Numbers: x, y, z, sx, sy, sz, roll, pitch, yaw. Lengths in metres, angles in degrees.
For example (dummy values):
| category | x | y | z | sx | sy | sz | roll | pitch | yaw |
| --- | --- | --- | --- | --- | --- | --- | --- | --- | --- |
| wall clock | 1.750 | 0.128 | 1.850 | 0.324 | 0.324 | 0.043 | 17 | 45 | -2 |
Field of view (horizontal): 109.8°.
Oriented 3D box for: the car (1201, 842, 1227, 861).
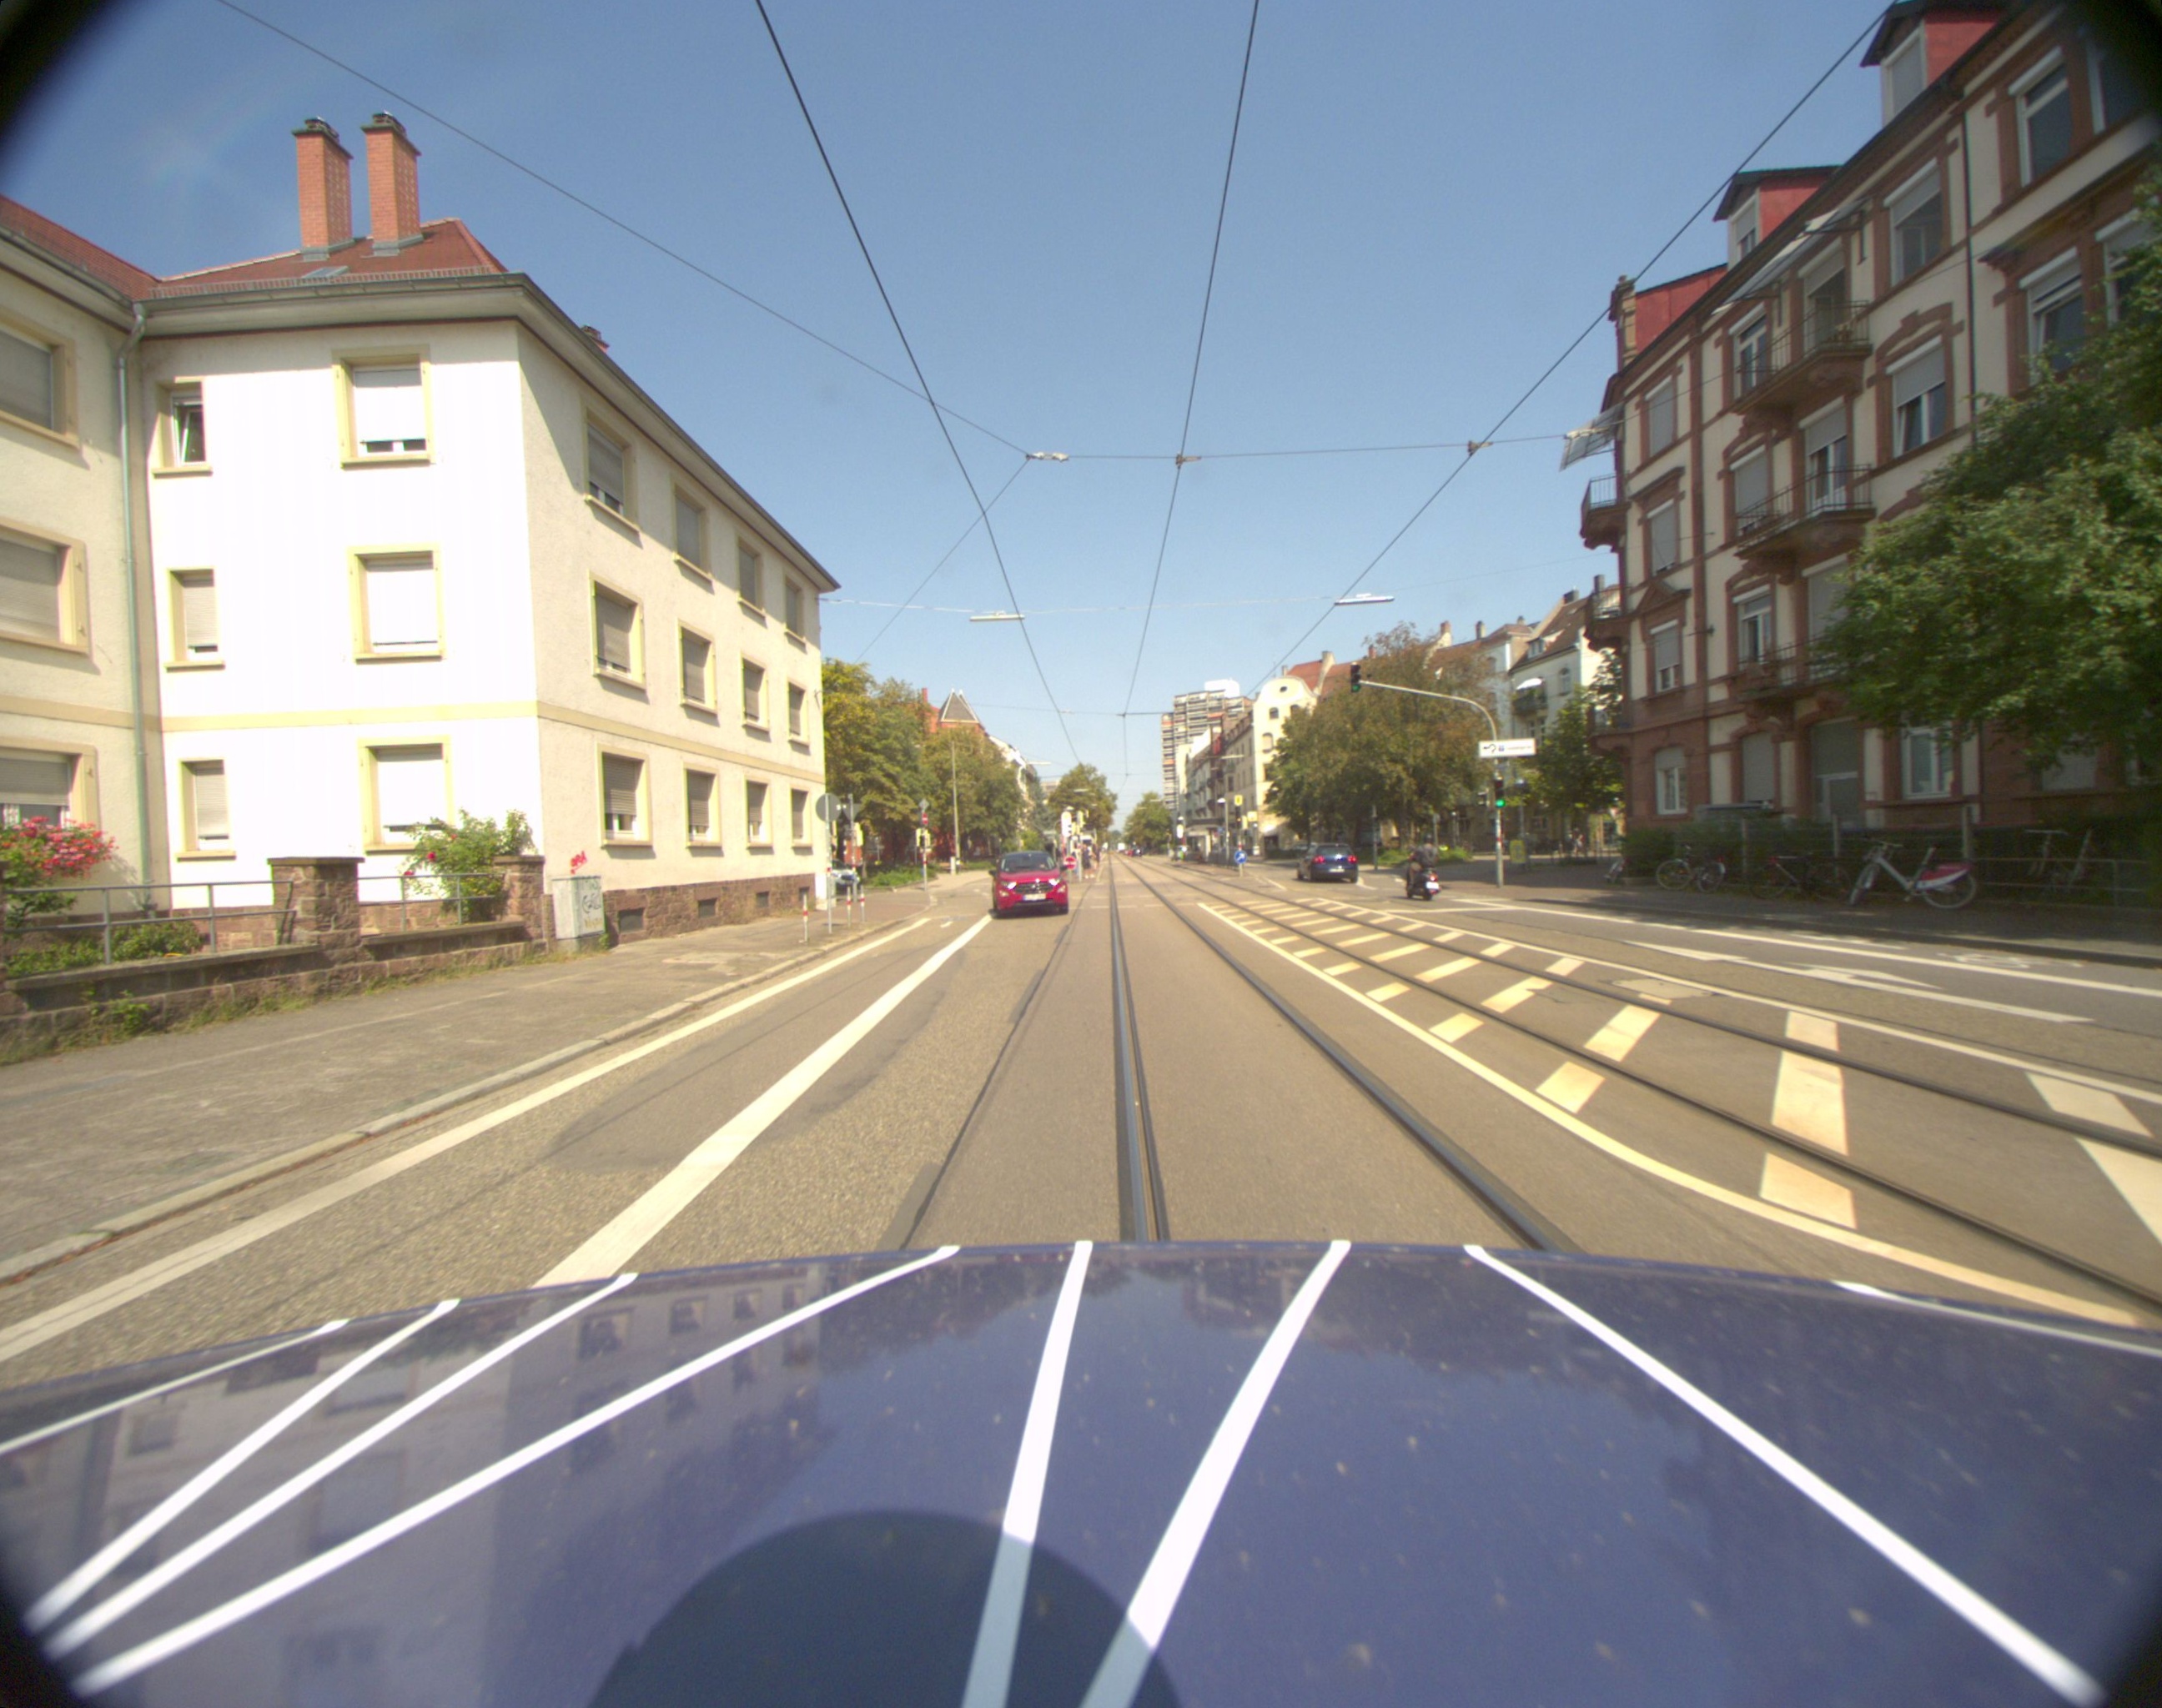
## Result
| category | x | y | z | sx | sy | sz | roll | pitch | yaw |
| --- | --- | --- | --- | --- | --- | --- | --- | --- | --- |
| car | 12.160 | -0.206 | 69.760 | 1.998 | 1.638 | 4.632 | -1 | 0 | 5 |

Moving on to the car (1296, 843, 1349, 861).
| category | x | y | z | sx | sy | sz | roll | pitch | yaw |
| --- | --- | --- | --- | --- | --- | --- | --- | --- | --- |
| car | 24.004 | -0.198 | 75.556 | 2.004 | 1.716 | 4.617 | -2 | 1 | -44 |

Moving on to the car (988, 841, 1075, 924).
| category | x | y | z | sx | sy | sz | roll | pitch | yaw |
| --- | --- | --- | --- | --- | --- | --- | --- | --- | --- |
| car | -1.411 | 0.671 | 19.847 | 1.804 | 1.801 | 4.413 | -4 | 0 | -8 |

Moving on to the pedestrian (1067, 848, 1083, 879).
| category | x | y | z | sx | sy | sz | roll | pitch | yaw |
| --- | --- | --- | --- | --- | --- | --- | --- | --- | --- |
| pedestrian | -0.365 | 0.565 | 46.186 | 0.674 | 1.874 | 0.923 | -2 | 1 | 13 |

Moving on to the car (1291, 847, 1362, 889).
| category | x | y | z | sx | sy | sz | roll | pitch | yaw |
| --- | --- | --- | --- | --- | --- | --- | --- | --- | --- |
| car | 9.352 | 0.485 | 29.200 | 1.730 | 1.425 | 4.178 | -1 | 1 | 6 |

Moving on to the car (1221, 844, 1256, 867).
| category | x | y | z | sx | sy | sz | roll | pitch | yaw |
| --- | --- | --- | --- | --- | --- | --- | --- | --- | --- |
| car | 11.955 | 0.111 | 58.081 | 1.998 | 1.638 | 4.632 | -1 | 0 | 4 |

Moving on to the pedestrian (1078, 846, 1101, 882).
| category | x | y | z | sx | sy | sz | roll | pitch | yaw |
| --- | --- | --- | --- | --- | --- | --- | --- | --- | --- |
| pedestrian | 0.446 | 0.517 | 39.792 | 0.924 | 1.874 | 0.674 | -3 | 1 | -34 |

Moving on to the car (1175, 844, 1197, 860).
| category | x | y | z | sx | sy | sz | roll | pitch | yaw |
| --- | --- | --- | --- | --- | --- | --- | --- | --- | --- |
| car | 11.909 | -0.264 | 86.449 | 1.998 | 1.716 | 4.631 | -1 | 0 | 3 |

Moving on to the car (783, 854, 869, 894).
| category | x | y | z | sx | sy | sz | roll | pitch | yaw |
| --- | --- | --- | --- | --- | --- | --- | --- | --- | --- |
| car | -12.677 | 1.004 | 37.691 | 4.404 | 1.801 | 1.808 | -2 | 1 | 37 |

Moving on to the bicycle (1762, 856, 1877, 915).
| category | x | y | z | sx | sy | sz | roll | pitch | yaw |
| --- | --- | --- | --- | --- | --- | --- | --- | --- | --- |
| bicycle | 12.863 | 0.523 | 13.301 | 0.488 | 0.936 | 1.657 | -2 | 0 | 5 |

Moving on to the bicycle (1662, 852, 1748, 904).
| category | x | y | z | sx | sy | sz | roll | pitch | yaw |
| --- | --- | --- | --- | --- | --- | --- | --- | --- | --- |
| bicycle | 13.234 | 0.476 | 16.172 | 0.488 | 1.016 | 1.778 | -2 | 0 | 5 |

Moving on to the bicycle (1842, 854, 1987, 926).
| category | x | y | z | sx | sy | sz | roll | pitch | yaw |
| --- | --- | --- | --- | --- | --- | --- | --- | --- | --- |
| bicycle | 12.629 | 0.512 | 11.591 | 0.488 | 0.980 | 1.657 | -2 | 0 | 5 |

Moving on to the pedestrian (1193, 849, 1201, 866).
| category | x | y | z | sx | sy | sz | roll | pitch | yaw |
| --- | --- | --- | --- | --- | --- | --- | --- | --- | --- |
| pedestrian | 8.607 | 0.282 | 56.342 | 0.479 | 1.243 | 0.648 | -2 | 1 | 3 |

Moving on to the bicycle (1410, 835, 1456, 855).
| category | x | y | z | sx | sy | sz | roll | pitch | yaw |
| --- | --- | --- | --- | --- | --- | --- | --- | --- | --- |
| bicycle | 28.323 | -0.704 | 61.217 | 1.224 | 1.428 | 3.480 | -3 | 0 | -18 |

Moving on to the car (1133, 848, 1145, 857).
| category | x | y | z | sx | sy | sz | roll | pitch | yaw |
| --- | --- | --- | --- | --- | --- | --- | --- | --- | --- |
| car | 10.553 | -0.279 | 137.964 | 1.998 | 1.716 | 4.631 | -1 | 0 | 3 |

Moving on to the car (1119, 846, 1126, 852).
| category | x | y | z | sx | sy | sz | roll | pitch | yaw |
| --- | --- | --- | --- | --- | --- | --- | --- | --- | --- |
| car | 12.350 | -1.350 | 224.449 | 1.998 | 1.716 | 4.631 | -1 | 0 | 3 |

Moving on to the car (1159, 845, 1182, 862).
| category | x | y | z | sx | sy | sz | roll | pitch | yaw |
| --- | --- | --- | --- | --- | --- | --- | --- | --- | --- |
| car | 9.104 | -0.074 | 77.710 | 1.998 | 1.716 | 4.631 | -1 | 0 | 3 |

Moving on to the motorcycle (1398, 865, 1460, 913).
| category | x | y | z | sx | sy | sz | roll | pitch | yaw |
| --- | --- | --- | --- | --- | --- | --- | --- | --- | --- |
| motorcycle | 8.460 | 0.812 | 18.565 | 0.693 | 1.025 | 2.158 | -2 | 1 | 6 |

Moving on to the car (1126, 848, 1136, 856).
| category | x | y | z | sx | sy | sz | roll | pitch | yaw |
| --- | --- | --- | --- | --- | --- | --- | --- | --- | --- |
| car | 11.072 | -0.435 | 168.350 | 1.998 | 1.716 | 4.631 | -1 | 0 | 3 |

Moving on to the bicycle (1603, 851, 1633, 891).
| category | x | y | z | sx | sy | sz | roll | pitch | yaw |
| --- | --- | --- | --- | --- | --- | --- | --- | --- | --- |
| bicycle | 14.295 | 0.437 | 20.205 | 0.487 | 0.991 | 1.833 | -2 | 1 | 40 |

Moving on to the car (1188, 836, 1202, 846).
| category | x | y | z | sx | sy | sz | roll | pitch | yaw |
| --- | --- | --- | --- | --- | --- | --- | --- | --- | --- |
| car | 19.889 | -2.259 | 132.715 | 1.998 | 1.716 | 4.631 | -1 | 0 | 3 |

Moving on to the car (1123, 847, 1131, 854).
| category | x | y | z | sx | sy | sz | roll | pitch | yaw |
| --- | --- | --- | --- | --- | --- | --- | --- | --- | --- |
| car | 11.633 | -1.005 | 193.443 | 1.998 | 1.716 | 4.631 | -1 | 0 | 3 |

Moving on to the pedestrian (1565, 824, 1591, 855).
| category | x | y | z | sx | sy | sz | roll | pitch | yaw |
| --- | --- | --- | --- | --- | --- | --- | --- | --- | --- |
| pedestrian | 33.799 | -1.009 | 51.644 | 1.035 | 2.002 | 1.095 | -4 | 1 | 7 |

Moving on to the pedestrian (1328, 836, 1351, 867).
| category | x | y | z | sx | sy | sz | roll | pitch | yaw |
| --- | --- | --- | --- | --- | --- | --- | --- | --- | --- |
| pedestrian | 17.702 | -0.175 | 52.067 | 1.094 | 2.002 | 1.036 | -4 | 1 | 2 |

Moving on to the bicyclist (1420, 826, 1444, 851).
| category | x | y | z | sx | sy | sz | roll | pitch | yaw |
| --- | --- | --- | --- | --- | --- | --- | --- | --- | --- |
| bicyclist | 28.280 | -1.242 | 61.217 | 1.210 | 2.002 | 1.209 | -3 | 2 | -19 |

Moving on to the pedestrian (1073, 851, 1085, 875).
| category | x | y | z | sx | sy | sz | roll | pitch | yaw |
| --- | --- | --- | --- | --- | --- | --- | --- | --- | --- |
| pedestrian | -0.147 | 0.626 | 52.042 | 0.739 | 1.575 | 0.853 | -2 | 1 | 2 |

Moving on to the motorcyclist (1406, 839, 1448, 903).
| category | x | y | z | sx | sy | sz | roll | pitch | yaw |
| --- | --- | --- | --- | --- | --- | --- | --- | --- | --- |
| motorcyclist | 8.441 | 0.401 | 18.563 | 0.691 | 1.503 | 0.773 | -2 | 1 | 6 |
